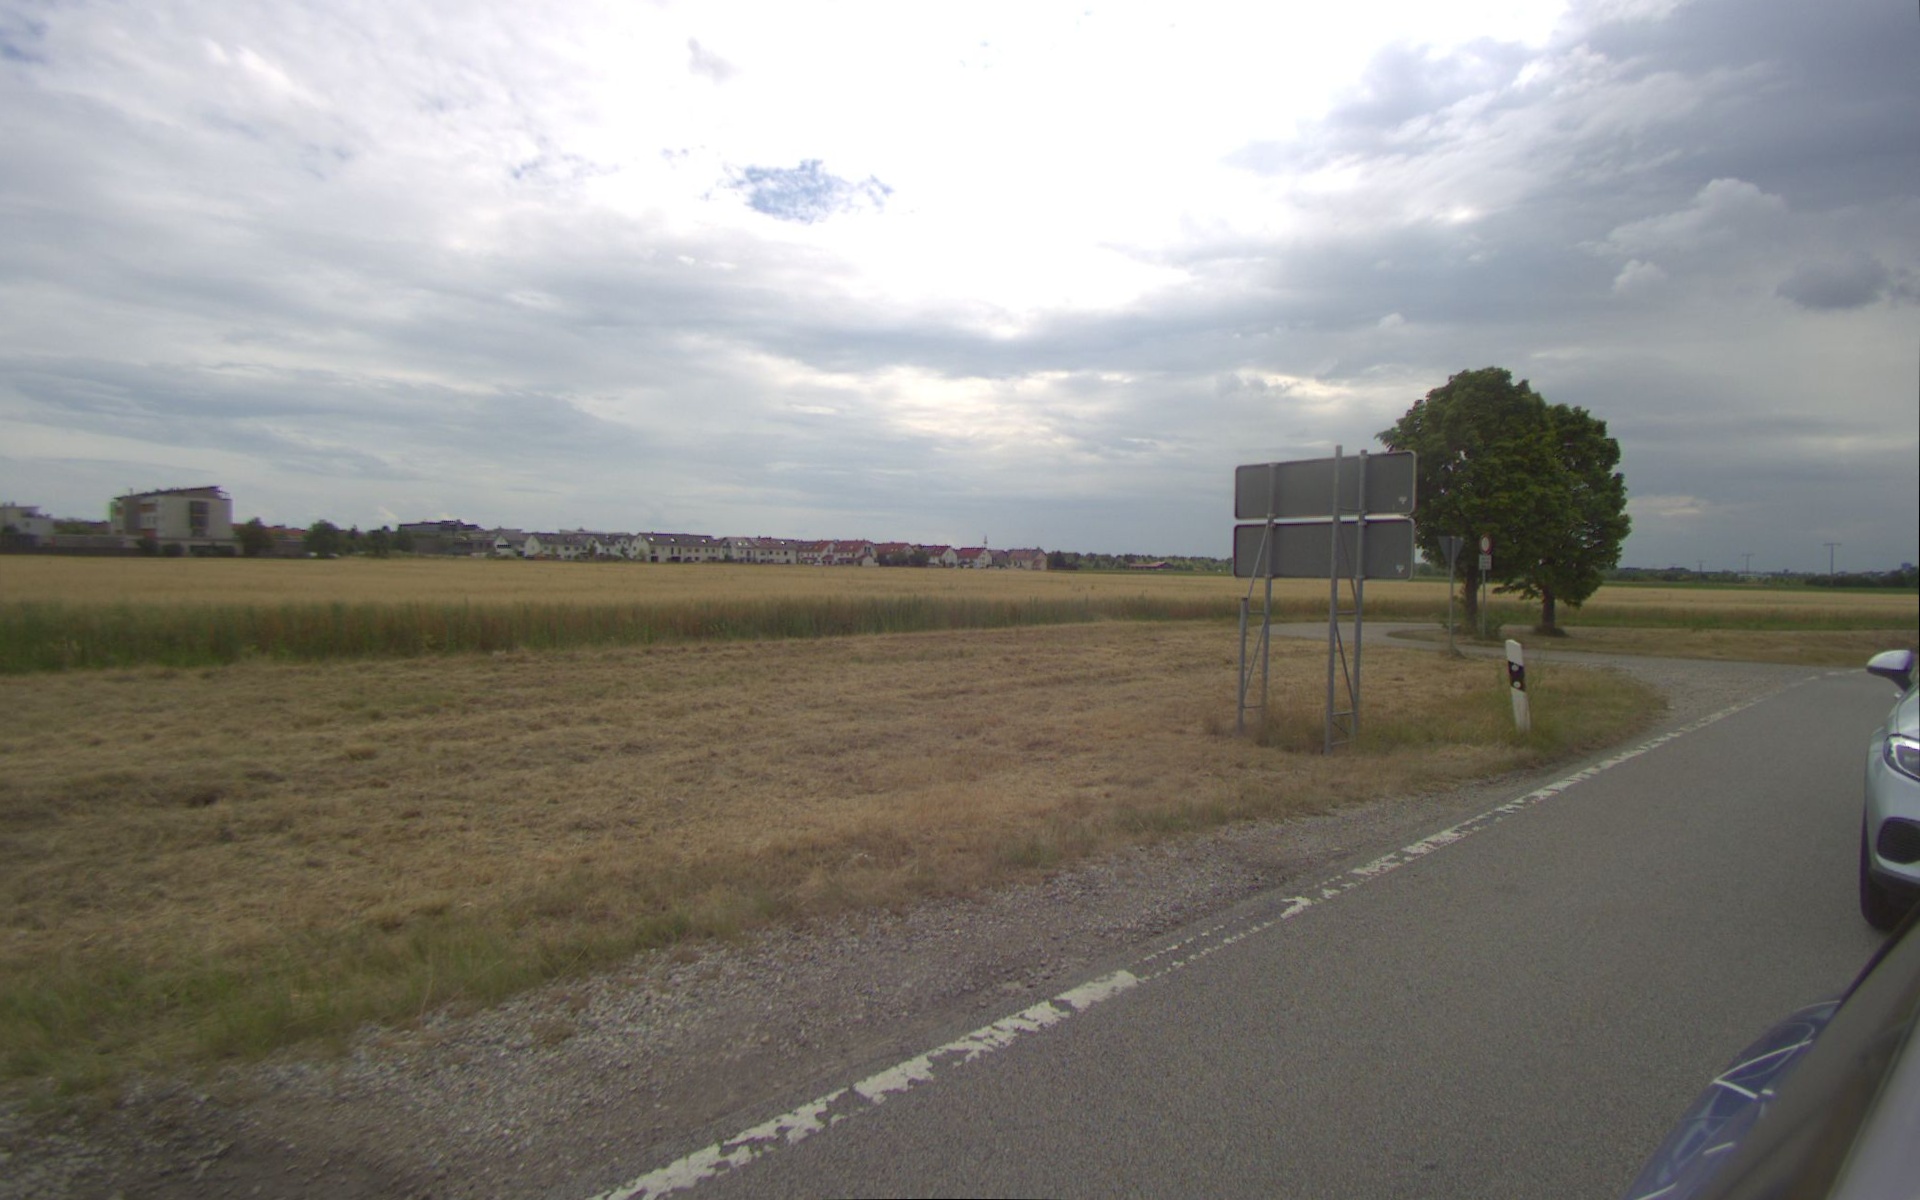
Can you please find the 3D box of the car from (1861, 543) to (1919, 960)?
[{"bbox_3d":[5.791,0.592,4.855,4.376,1.606,1.834,0,1,-44],"label":"car"}]
